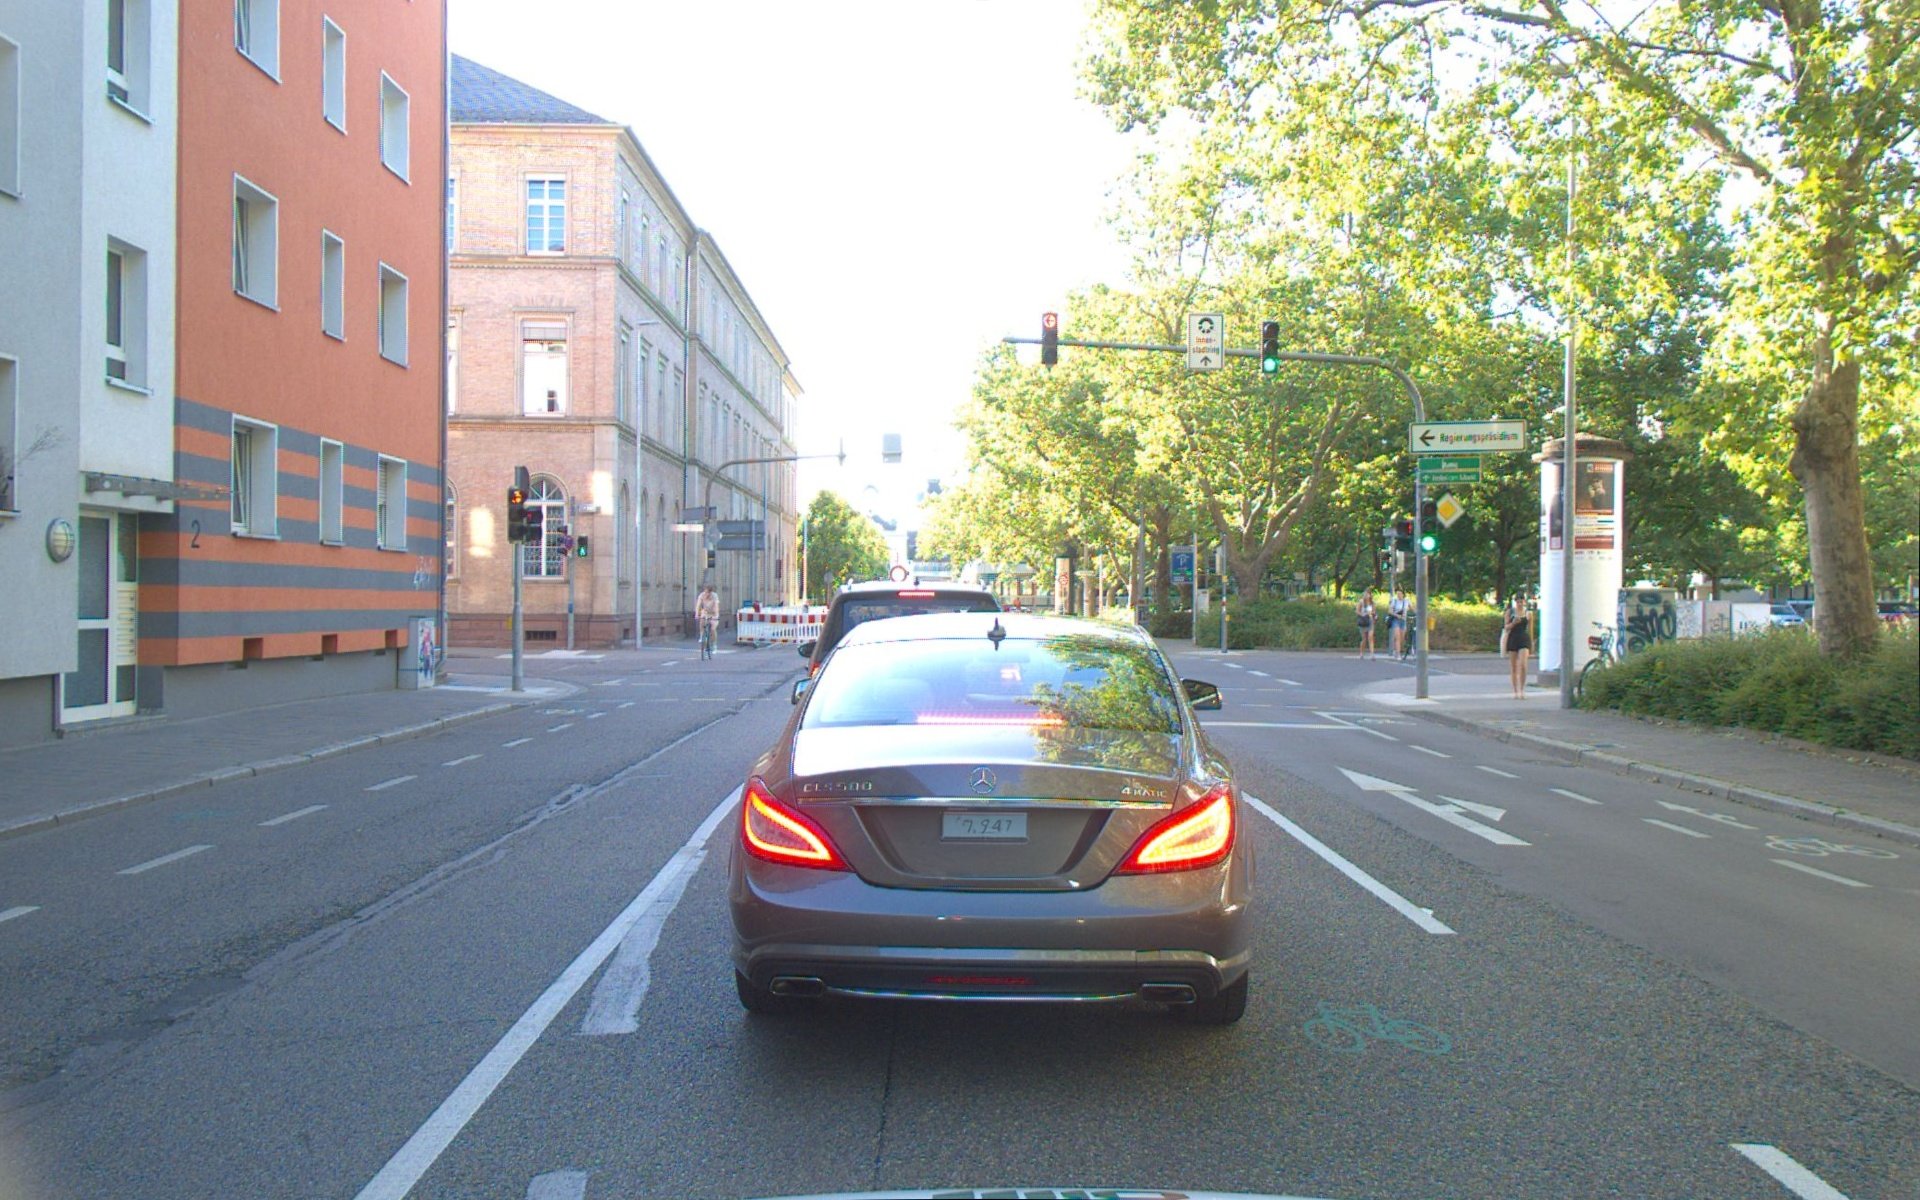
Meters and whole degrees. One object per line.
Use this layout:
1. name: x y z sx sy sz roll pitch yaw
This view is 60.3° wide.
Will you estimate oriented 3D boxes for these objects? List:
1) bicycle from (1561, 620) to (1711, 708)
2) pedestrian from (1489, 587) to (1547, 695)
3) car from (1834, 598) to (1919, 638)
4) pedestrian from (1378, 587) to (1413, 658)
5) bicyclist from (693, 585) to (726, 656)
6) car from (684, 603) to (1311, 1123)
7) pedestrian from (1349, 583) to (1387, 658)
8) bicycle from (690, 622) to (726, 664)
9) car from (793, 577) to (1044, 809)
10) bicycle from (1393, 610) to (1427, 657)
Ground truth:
1. bicycle: 9.697 0.912 23.753 1.936 1.210 0.528 1 -1 -2
2. pedestrian: 8.744 0.642 25.948 0.781 1.659 0.908 -1 -1 16
3. car: 36.265 0.697 65.142 1.596 1.508 3.794 1 0 -2
4. pedestrian: 10.762 0.545 40.900 0.669 1.727 0.971 1 0 5
5. bicyclist: -5.718 0.463 37.785 0.635 1.586 0.806 1 -1 -2
6. car: 0.290 0.764 7.060 1.804 1.454 4.520 1 0 5
7. pedestrian: 10.124 0.506 41.041 0.717 1.840 0.909 0 -1 1
8. bicycle: -5.729 0.977 37.659 0.537 0.906 1.867 1 0 -1
9. car: -0.266 0.668 13.713 1.772 1.641 4.000 0 0 1
10. bicycle: 11.111 0.820 40.866 0.513 1.119 1.742 1 0 6
